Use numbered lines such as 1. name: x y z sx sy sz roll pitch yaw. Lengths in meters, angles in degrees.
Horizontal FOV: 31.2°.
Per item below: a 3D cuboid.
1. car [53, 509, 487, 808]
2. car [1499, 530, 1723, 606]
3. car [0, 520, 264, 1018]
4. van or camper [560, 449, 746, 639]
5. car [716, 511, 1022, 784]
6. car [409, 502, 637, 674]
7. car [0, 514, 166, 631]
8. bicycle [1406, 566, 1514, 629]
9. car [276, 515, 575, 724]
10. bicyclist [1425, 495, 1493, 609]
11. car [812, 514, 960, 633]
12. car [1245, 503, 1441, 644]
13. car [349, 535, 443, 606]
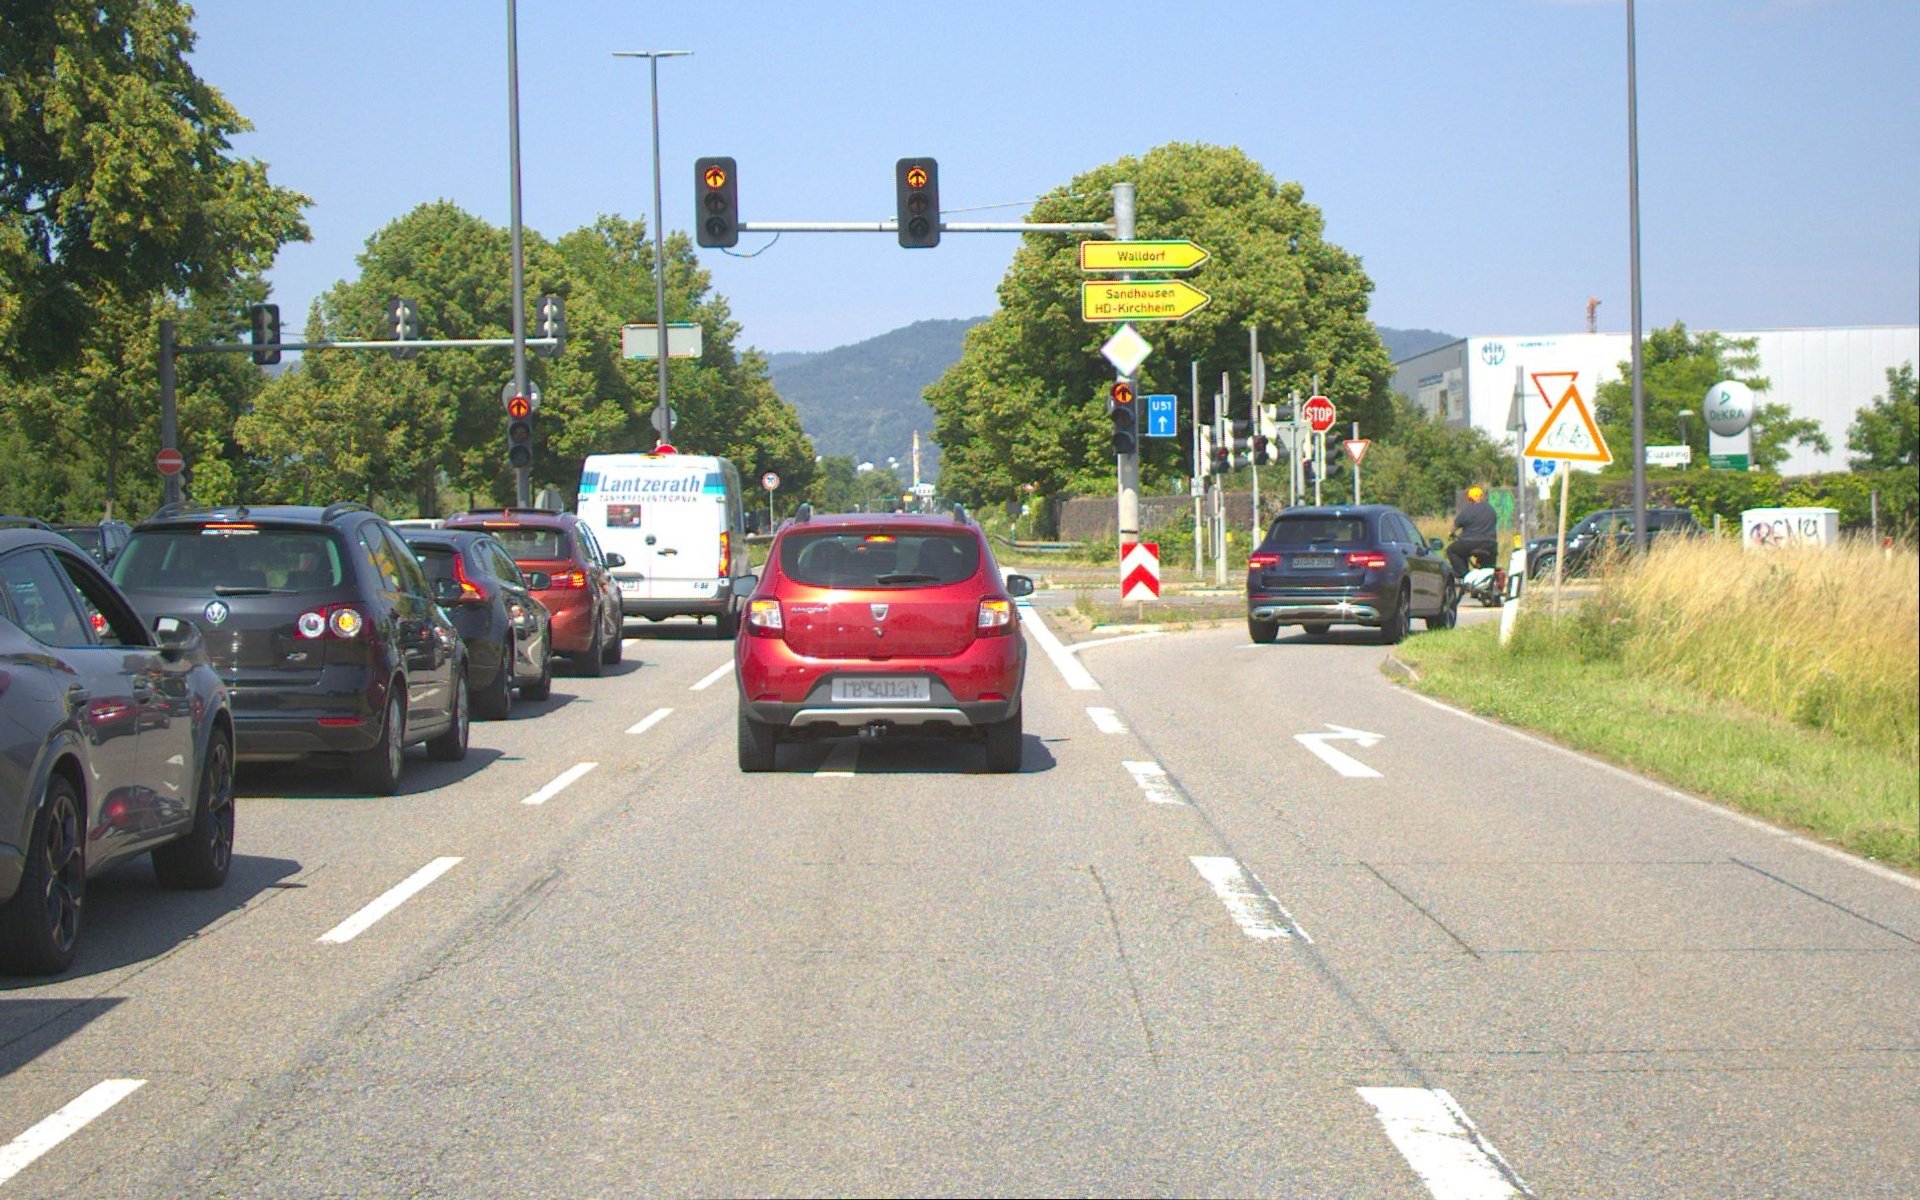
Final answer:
1. car: -3.892 0.255 20.002 1.723 1.570 3.893 0 1 0
2. car: 12.166 -0.614 64.416 3.988 1.322 1.806 -1 1 7
3. car: -3.817 0.467 12.494 1.745 1.498 4.363 0 1 -1
4. van or camper: -3.886 -0.738 44.295 2.179 2.295 4.827 0 1 -3
5. car: -0.494 0.226 21.679 1.749 1.570 3.676 0 1 1
6. car: -4.236 -0.163 33.826 1.724 1.594 3.956 0 1 0
7. car: -14.839 -0.500 58.042 1.857 1.849 4.698 -1 2 -2
8. bicycle: 7.856 -0.052 54.120 0.761 0.911 2.780 -1 2 -12
9. car: -4.110 0.095 26.978 1.702 1.437 3.956 1 2 0
10. bicyclist: 7.845 -0.758 54.059 0.802 1.765 0.809 -1 2 -11
11. car: -0.912 -0.373 44.269 1.749 1.453 3.676 0 2 1
12. car: 4.733 -0.363 41.994 1.994 1.611 4.337 0 1 11
13. car: -16.195 -0.877 98.936 1.993 1.924 5.017 -1 2 -2
